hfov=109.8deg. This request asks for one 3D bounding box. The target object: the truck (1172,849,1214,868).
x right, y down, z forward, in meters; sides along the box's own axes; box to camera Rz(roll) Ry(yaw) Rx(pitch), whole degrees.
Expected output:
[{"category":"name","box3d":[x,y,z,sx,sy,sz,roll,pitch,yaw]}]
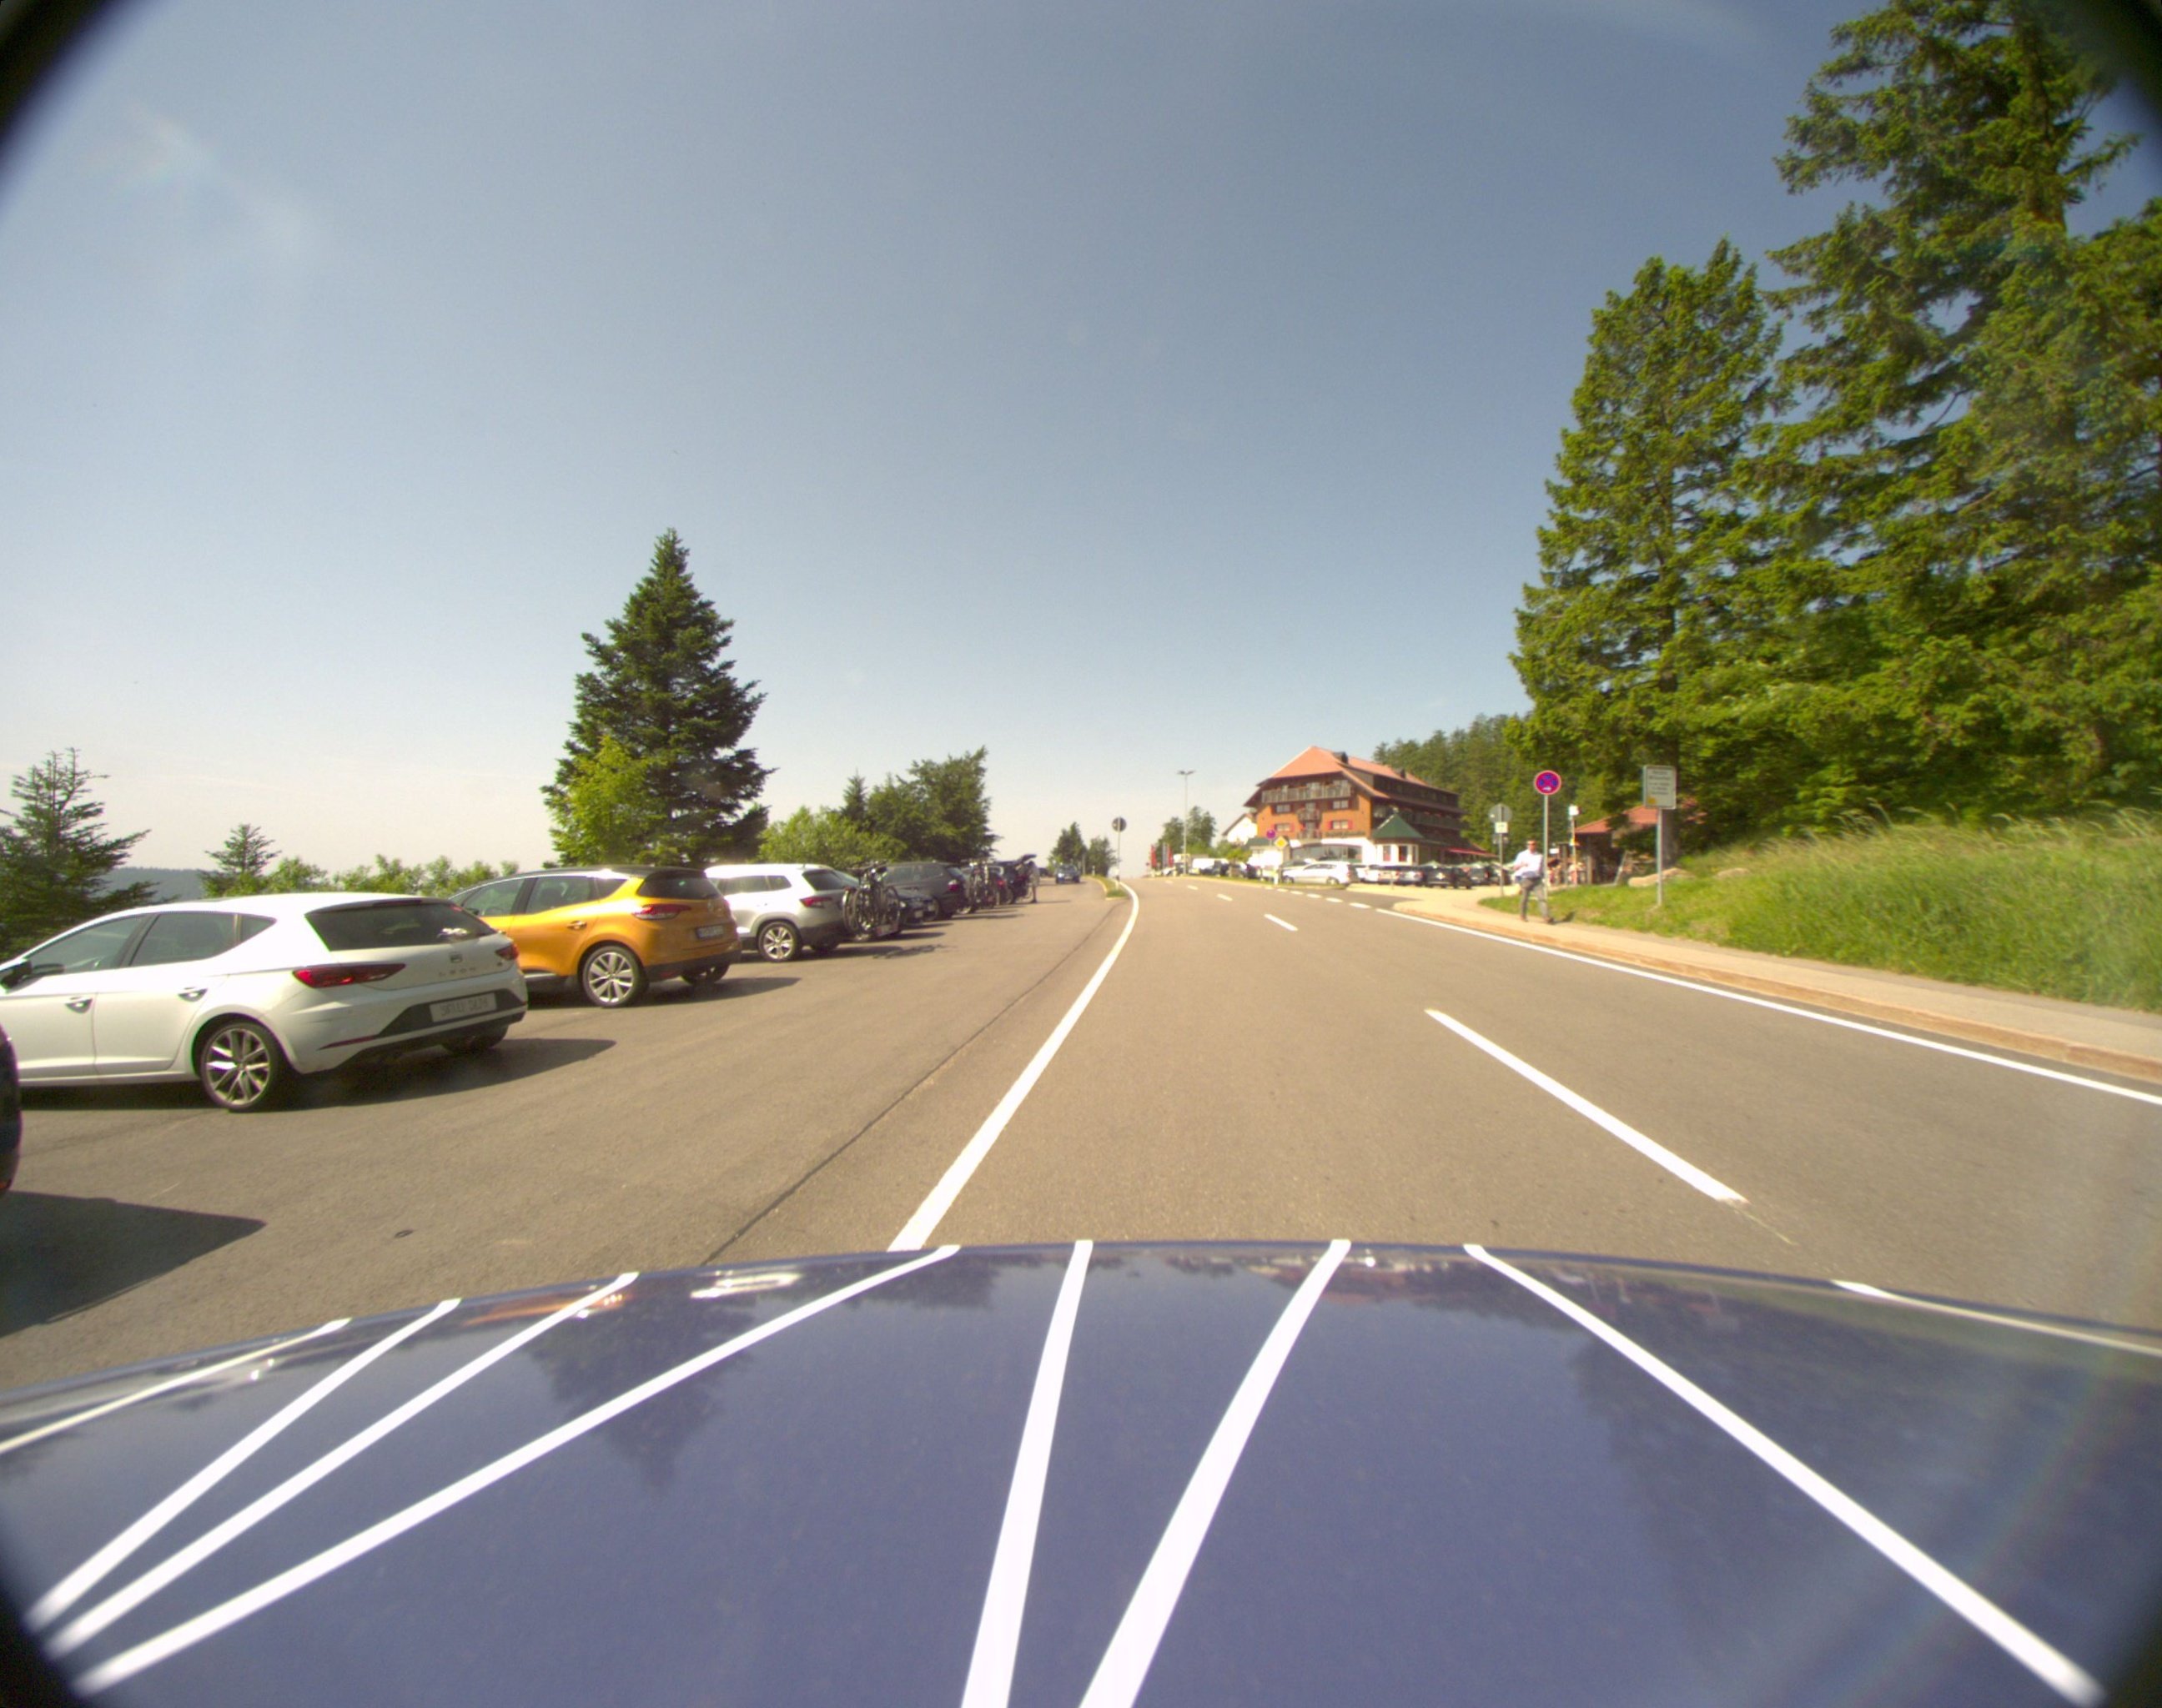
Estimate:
[{"category":"truck","box3d":[18.227,0.632,123.084,2.862,2.813,8.779,-1,0,37]}]

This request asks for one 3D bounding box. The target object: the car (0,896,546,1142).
[{"category":"car","box3d":[-6.558,1.184,5.819,3.891,1.412,1.614,-3,1,8]}]

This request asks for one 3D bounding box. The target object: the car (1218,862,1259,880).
[{"category":"car","box3d":[14.500,1.527,69.871,1.720,1.583,3.325,-1,0,-42]}]

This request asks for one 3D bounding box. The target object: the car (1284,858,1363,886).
[{"category":"car","box3d":[14.131,1.032,44.380,3.952,1.578,1.794,-1,0,41]}]

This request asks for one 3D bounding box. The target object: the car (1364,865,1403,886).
[{"category":"car","box3d":[22.991,1.631,57.687,1.727,1.457,3.528,-1,0,41]}]

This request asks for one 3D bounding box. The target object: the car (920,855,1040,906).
[{"category":"car","box3d":[-3.920,1.016,30.099,4.322,1.811,2.001,-2,0,4]}]

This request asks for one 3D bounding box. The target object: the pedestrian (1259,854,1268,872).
[{"category":"pedestrian","box3d":[17.008,0.839,70.757,0.779,1.689,0.684,-1,0,7]}]

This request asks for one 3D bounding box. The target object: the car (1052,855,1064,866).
[{"category":"car","box3d":[-4.293,1.277,141.064,1.952,1.970,4.069,-1,0,-5]}]

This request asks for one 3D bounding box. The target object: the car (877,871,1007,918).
[{"category":"car","box3d":[-4.335,1.270,23.962,3.707,1.261,1.565,-3,-1,4]}]

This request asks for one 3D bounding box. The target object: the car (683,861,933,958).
[{"category":"car","box3d":[-5.507,1.091,15.638,4.428,1.609,1.753,-4,0,5]}]

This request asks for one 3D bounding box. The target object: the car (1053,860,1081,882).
[{"category":"car","box3d":[-1.046,1.227,56.756,1.999,1.537,3.999,-2,0,-1]}]

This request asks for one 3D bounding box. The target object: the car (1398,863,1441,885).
[{"category":"car","box3d":[22.770,1.315,51.014,1.714,1.425,3.323,-1,-1,42]}]

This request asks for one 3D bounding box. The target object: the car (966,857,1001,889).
[{"category":"car","box3d":[-6.047,1.143,47.665,1.866,1.830,3.882,-2,0,-3]}]

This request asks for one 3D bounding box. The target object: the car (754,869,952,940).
[{"category":"car","box3d":[-5.600,1.225,18.892,4.321,1.423,1.691,-4,0,8]}]

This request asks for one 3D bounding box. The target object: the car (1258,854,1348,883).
[{"category":"car","box3d":[14.762,0.946,50.699,5.349,1.858,2.004,-1,0,36]}]

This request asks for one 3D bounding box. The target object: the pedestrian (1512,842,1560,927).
[{"category":"pedestrian","box3d":[9.541,0.629,15.954,0.580,1.731,0.687,-1,0,2]}]

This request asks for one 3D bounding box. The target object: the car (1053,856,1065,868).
[{"category":"car","box3d":[-3.958,1.362,135.938,1.999,2.002,3.999,-2,0,-3]}]

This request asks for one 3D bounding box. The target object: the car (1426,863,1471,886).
[{"category":"car","box3d":[23.358,1.281,48.279,1.708,1.387,3.323,-1,-1,42]}]

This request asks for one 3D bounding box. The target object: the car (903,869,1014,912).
[{"category":"car","box3d":[-4.340,1.284,27.298,3.683,1.343,1.738,-2,0,-2]}]

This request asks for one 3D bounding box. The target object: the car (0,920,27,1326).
[{"category":"car","box3d":[-6.300,1.093,2.520,4.137,1.535,1.674,-2,0,11]}]

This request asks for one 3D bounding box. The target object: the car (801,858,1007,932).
[{"category":"car","box3d":[-4.846,1.101,21.228,5.112,1.610,2.001,-4,0,5]}]

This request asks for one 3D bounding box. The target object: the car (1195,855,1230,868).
[{"category":"car","box3d":[20.032,1.099,115.910,5.247,1.894,2.001,-1,0,9]}]

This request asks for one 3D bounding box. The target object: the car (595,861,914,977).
[{"category":"car","box3d":[-5.392,1.046,12.954,4.485,1.617,2.014,-3,0,5]}]

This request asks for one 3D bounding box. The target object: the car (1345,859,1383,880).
[{"category":"car","box3d":[22.611,1.232,60.624,1.710,1.543,3.141,-1,0,44]}]

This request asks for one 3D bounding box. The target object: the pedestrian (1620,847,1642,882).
[{"category":"pedestrian","box3d":[31.747,0.592,43.865,0.894,2.002,0.789,-1,1,43]}]

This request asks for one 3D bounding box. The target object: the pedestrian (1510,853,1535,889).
[{"category":"pedestrian","box3d":[21.690,0.824,37.354,0.638,1.731,0.910,-1,0,-41]}]

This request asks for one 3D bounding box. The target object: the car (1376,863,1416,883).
[{"category":"car","box3d":[22.547,1.348,54.369,1.636,1.425,3.323,-1,-1,42]}]

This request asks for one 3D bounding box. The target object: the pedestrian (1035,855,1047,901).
[{"category":"pedestrian","box3d":[-1.602,0.947,30.449,0.367,1.812,0.549,-1,0,4]}]

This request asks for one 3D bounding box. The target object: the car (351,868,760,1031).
[{"category":"car","box3d":[-6.288,1.110,9.330,3.885,1.606,1.711,-4,0,7]}]
